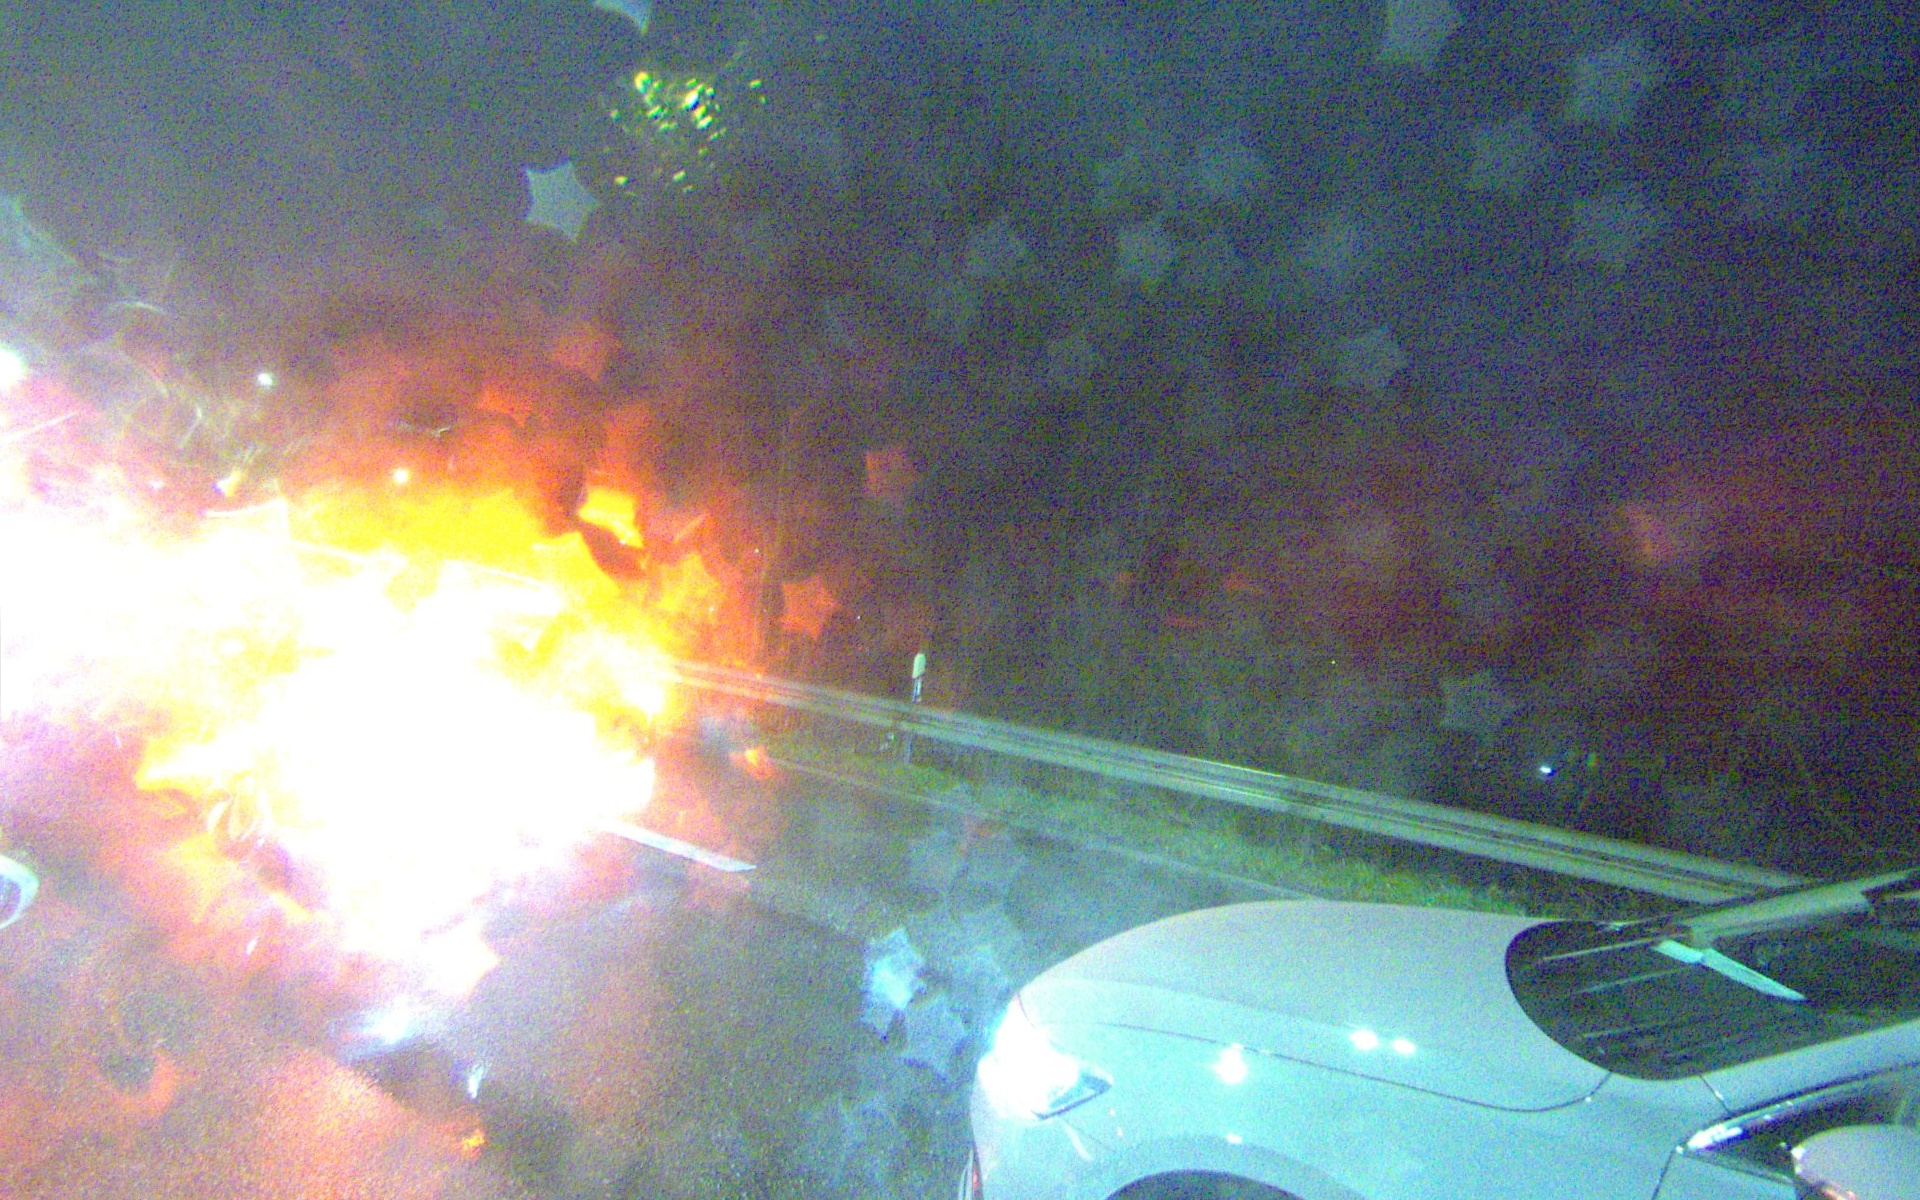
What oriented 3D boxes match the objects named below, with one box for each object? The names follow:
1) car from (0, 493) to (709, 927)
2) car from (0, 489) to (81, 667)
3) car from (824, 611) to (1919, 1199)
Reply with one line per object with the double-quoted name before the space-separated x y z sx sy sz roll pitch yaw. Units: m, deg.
"car" -3.740 0.394 5.746 4.484 1.522 1.677 6 -3 32
"car" -10.262 -0.417 9.456 3.892 1.539 1.681 6 -2 29
"car" 2.040 1.068 1.596 4.342 1.539 1.710 6 -2 32
